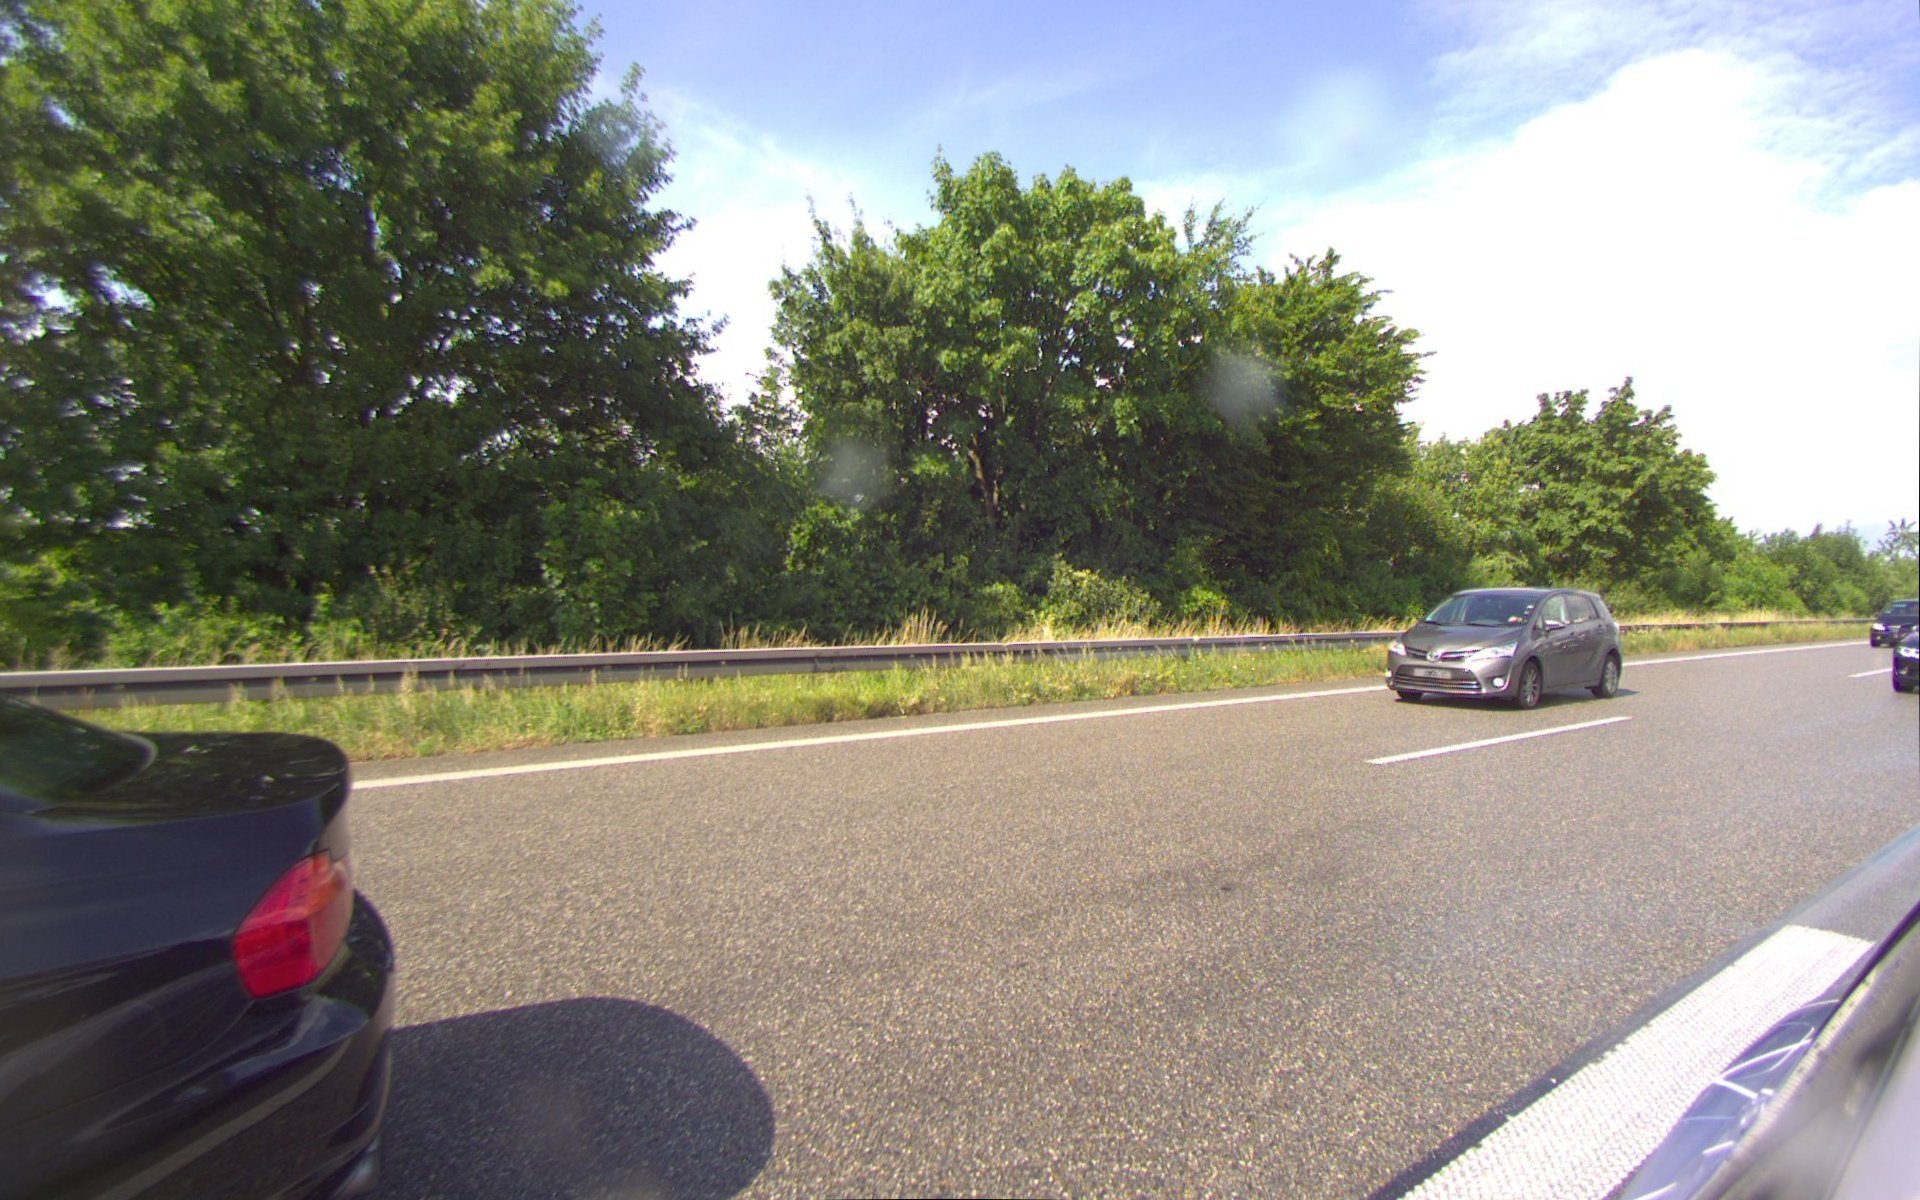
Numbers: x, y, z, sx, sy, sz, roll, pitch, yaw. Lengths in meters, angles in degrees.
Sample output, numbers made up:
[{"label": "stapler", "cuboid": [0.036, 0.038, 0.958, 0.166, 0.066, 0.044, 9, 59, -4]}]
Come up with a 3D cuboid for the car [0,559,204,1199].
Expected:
[{"label": "car", "cuboid": [-3.183, 0.647, 1.079, 3.766, 1.438, 1.744, 0, 1, -39]}]

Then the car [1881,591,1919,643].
[{"label": "car", "cuboid": [31.415, 0.538, 32.696, 3.928, 1.588, 1.853, 0, 2, -39]}]

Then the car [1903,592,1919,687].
[{"label": "car", "cuboid": [17.156, 0.635, 16.621, 4.178, 1.482, 1.853, 0, 2, -39]}]

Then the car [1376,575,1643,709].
[{"label": "car", "cuboid": [7.932, 0.498, 14.464, 4.305, 1.633, 1.793, 0, 1, -38]}]
